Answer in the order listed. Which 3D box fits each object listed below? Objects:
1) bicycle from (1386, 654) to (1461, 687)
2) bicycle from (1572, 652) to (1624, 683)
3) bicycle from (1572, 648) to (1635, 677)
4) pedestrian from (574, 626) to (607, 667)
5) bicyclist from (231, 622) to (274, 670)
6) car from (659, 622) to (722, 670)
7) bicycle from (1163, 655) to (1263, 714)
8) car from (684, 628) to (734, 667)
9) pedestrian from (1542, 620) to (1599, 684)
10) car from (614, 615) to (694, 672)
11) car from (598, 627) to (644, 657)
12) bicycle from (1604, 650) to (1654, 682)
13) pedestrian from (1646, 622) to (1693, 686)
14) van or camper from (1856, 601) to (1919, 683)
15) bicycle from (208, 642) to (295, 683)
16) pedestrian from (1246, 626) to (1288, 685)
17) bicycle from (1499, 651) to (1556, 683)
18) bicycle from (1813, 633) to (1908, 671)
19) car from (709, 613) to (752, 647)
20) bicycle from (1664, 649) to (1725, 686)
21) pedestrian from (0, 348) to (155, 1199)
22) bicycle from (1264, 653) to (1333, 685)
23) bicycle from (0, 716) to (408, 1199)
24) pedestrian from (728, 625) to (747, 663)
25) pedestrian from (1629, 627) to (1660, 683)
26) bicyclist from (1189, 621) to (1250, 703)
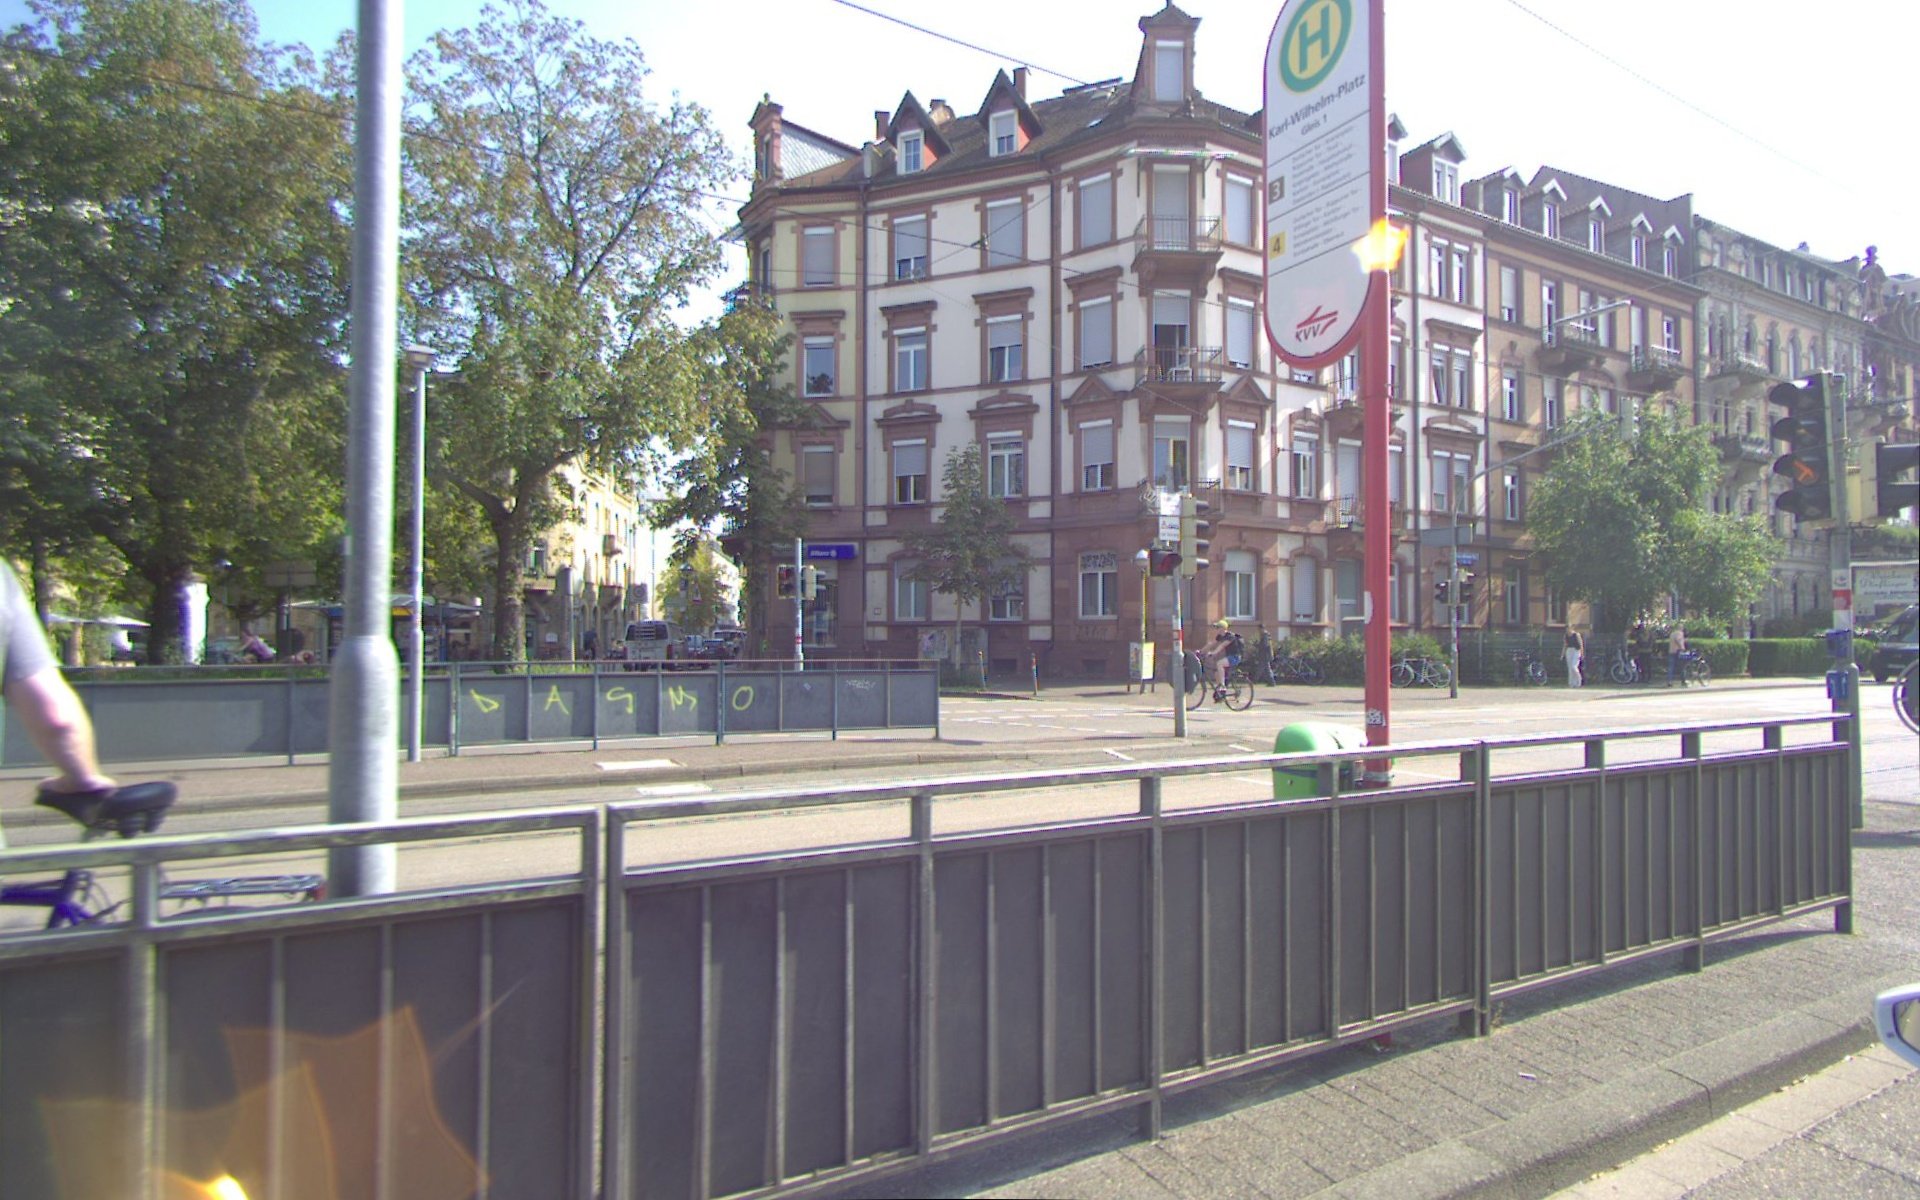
[{"bbox_3d":[12.882,1.950,27.953,1.791,0.871,0.528,0,-1,9],"label":"bicycle"},{"bbox_3d":[19.135,2.014,30.122,1.680,0.871,0.524,1,-2,-26],"label":"bicycle"},{"bbox_3d":[20.849,2.006,32.571,0.521,0.871,1.690,1,-2,-28],"label":"bicycle"},{"bbox_3d":[-14.548,1.827,39.583,0.980,1.574,1.112,1,-1,-10],"label":"pedestrian"},{"bbox_3d":[-20.364,1.319,28.939,0.643,1.378,0.759,0,-2,18],"label":"bicyclist"},{"bbox_3d":[-12.244,2.078,45.891,2.041,2.043,4.589,0,-2,-6],"label":"car"},{"bbox_3d":[5.153,1.701,20.442,2.042,1.118,0.682,1,-2,-27],"label":"bicycle"},{"bbox_3d":[-13.850,2.597,55.695,2.041,2.043,4.589,0,-2,-6],"label":"car"},{"bbox_3d":[17.329,1.465,28.525,1.170,1.789,0.902,1,-2,-26],"label":"pedestrian"},{"bbox_3d":[-11.554,1.636,38.300,2.041,2.043,4.589,0,-2,-6],"label":"car"},{"bbox_3d":[-23.610,2.905,70.193,2.041,2.043,4.589,0,-2,-6],"label":"car"},{"bbox_3d":[20.605,2.035,30.922,1.680,0.940,0.524,1,-2,-26],"label":"bicycle"},{"bbox_3d":[20.813,1.562,29.457,1.080,1.830,0.724,1,-2,-31],"label":"pedestrian"},{"bbox_3d":[34.107,1.503,34.885,6.002,2.679,2.047,2,-3,-22],"label":"van or camper"},{"bbox_3d":[-20.363,1.780,28.926,0.643,1.118,2.073,0,-2,18],"label":"bicycle"},{"bbox_3d":[8.369,1.509,27.433,0.926,1.591,0.842,0,-2,5],"label":"pedestrian"},{"bbox_3d":[16.438,1.936,29.073,1.804,0.871,0.524,1,-2,-26],"label":"bicycle"},{"bbox_3d":[37.781,2.157,42.191,0.988,1.474,2.856,1,-1,-35],"label":"bicycle"},{"bbox_3d":[-14.213,1.864,62.339,2.041,2.043,4.589,0,-2,-6],"label":"car"},{"bbox_3d":[21.368,1.948,29.219,2.125,1.020,0.615,1,-2,-30],"label":"bicycle"},{"bbox_3d":[-2.081,0.463,1.860,0.787,1.789,0.686,1,-2,-30],"label":"pedestrian"},{"bbox_3d":[9.532,1.938,28.343,1.791,0.871,0.528,0,-1,9],"label":"bicycle"},{"bbox_3d":[-2.244,0.859,2.230,1.711,1.118,0.472,1,-2,-21],"label":"bicycle"},{"bbox_3d":[-10.499,2.061,47.407,0.721,1.789,0.859,0,-2,-4],"label":"pedestrian"},{"bbox_3d":[21.157,1.685,31.053,0.629,1.700,0.631,1,-2,-41],"label":"pedestrian"},{"bbox_3d":[5.306,1.246,20.528,1.031,1.635,0.671,1,-2,-27],"label":"bicyclist"}]
